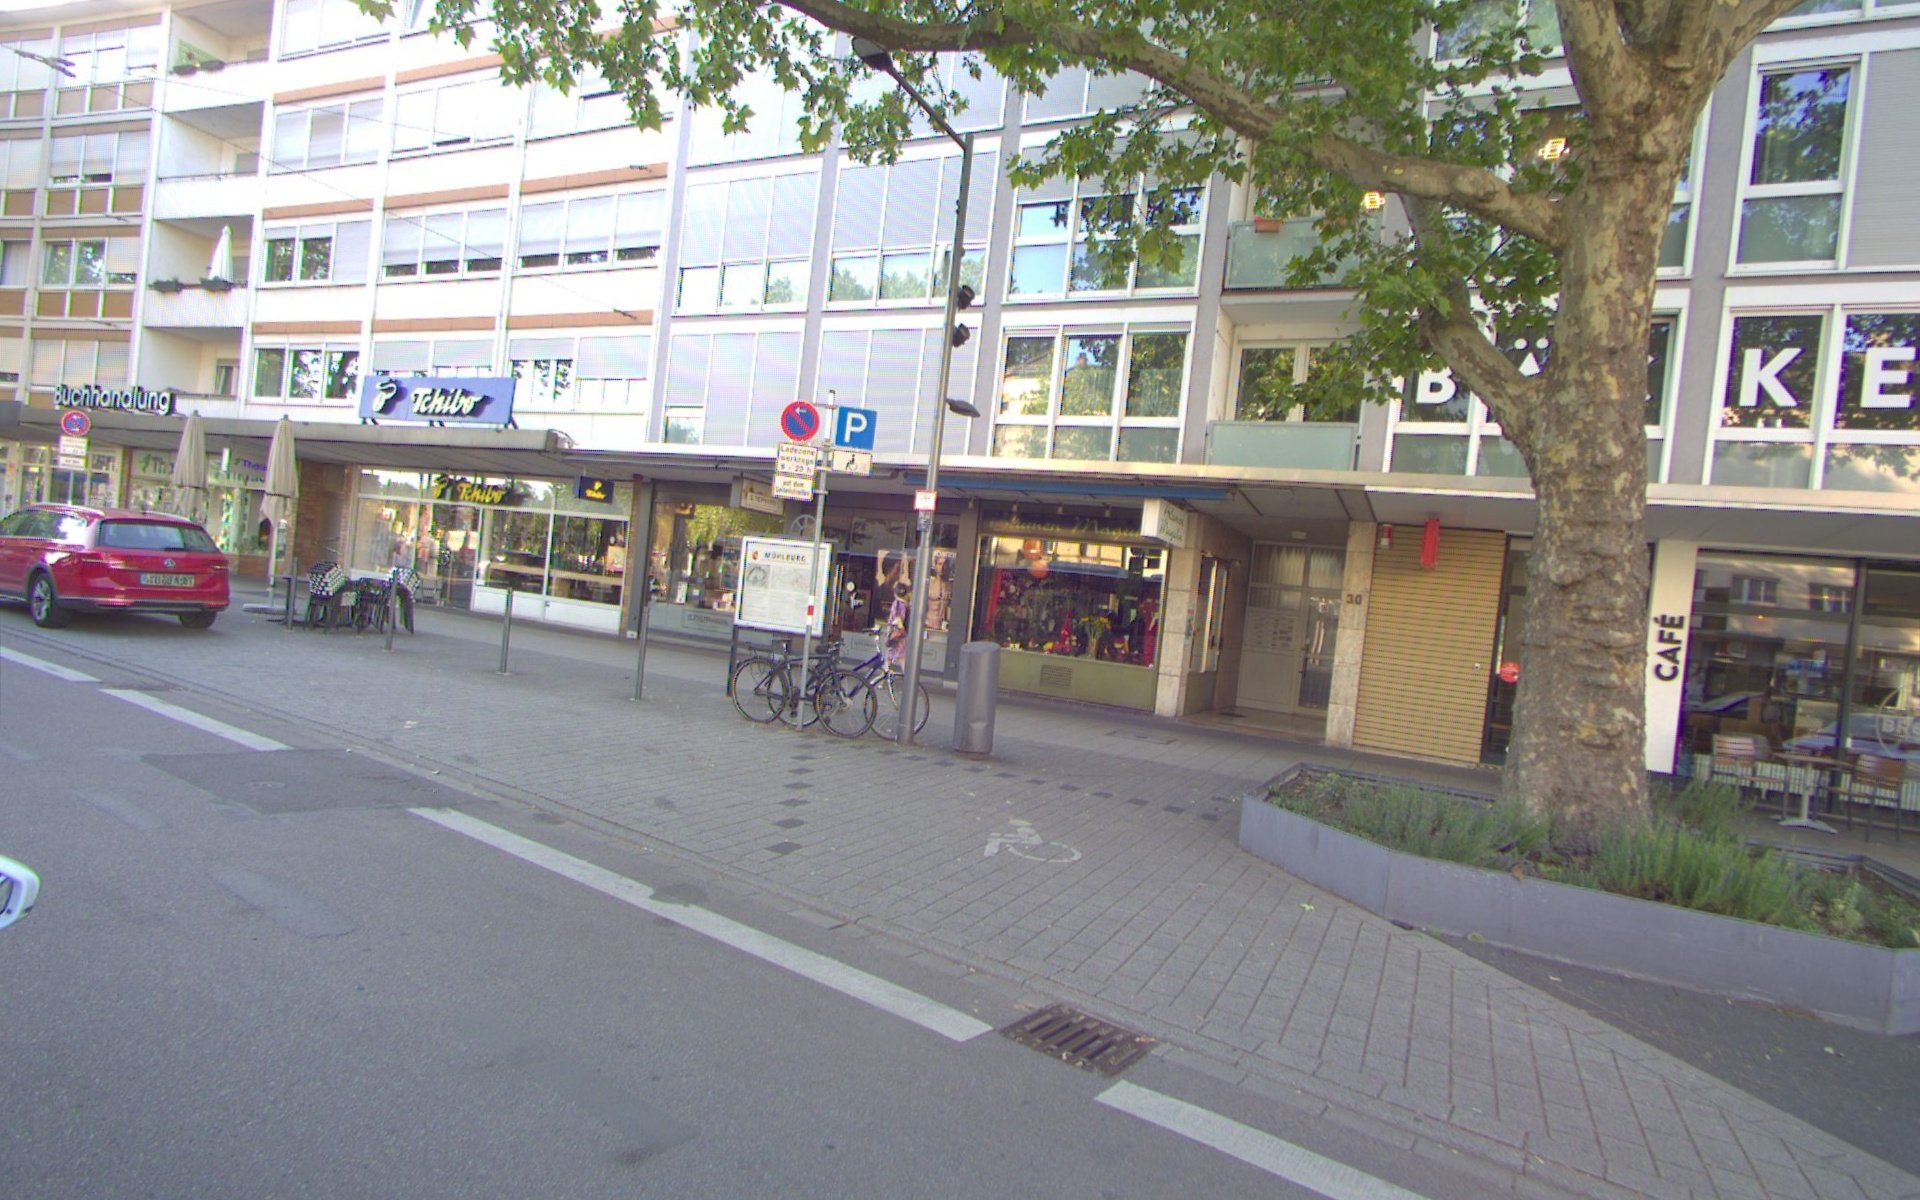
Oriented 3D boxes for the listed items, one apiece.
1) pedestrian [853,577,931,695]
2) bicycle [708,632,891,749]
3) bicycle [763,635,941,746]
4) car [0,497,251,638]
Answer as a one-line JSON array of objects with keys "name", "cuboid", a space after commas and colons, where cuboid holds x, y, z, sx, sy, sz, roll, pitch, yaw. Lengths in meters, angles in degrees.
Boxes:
[{"name": "pedestrian", "cuboid": [-0.994, 0.519, 14.764, 0.776, 1.613, 0.651, 7, 3, 26]}, {"name": "bicycle", "cuboid": [-1.636, 0.900, 10.233, 1.743, 0.951, 0.391, 6, 2, 12]}, {"name": "bicycle", "cuboid": [-1.133, 0.931, 10.556, 1.743, 0.931, 0.391, 6, 2, 12]}, {"name": "car", "cuboid": [-11.648, -0.492, 13.454, 4.229, 1.502, 1.772, 6, 1, 28]}]
